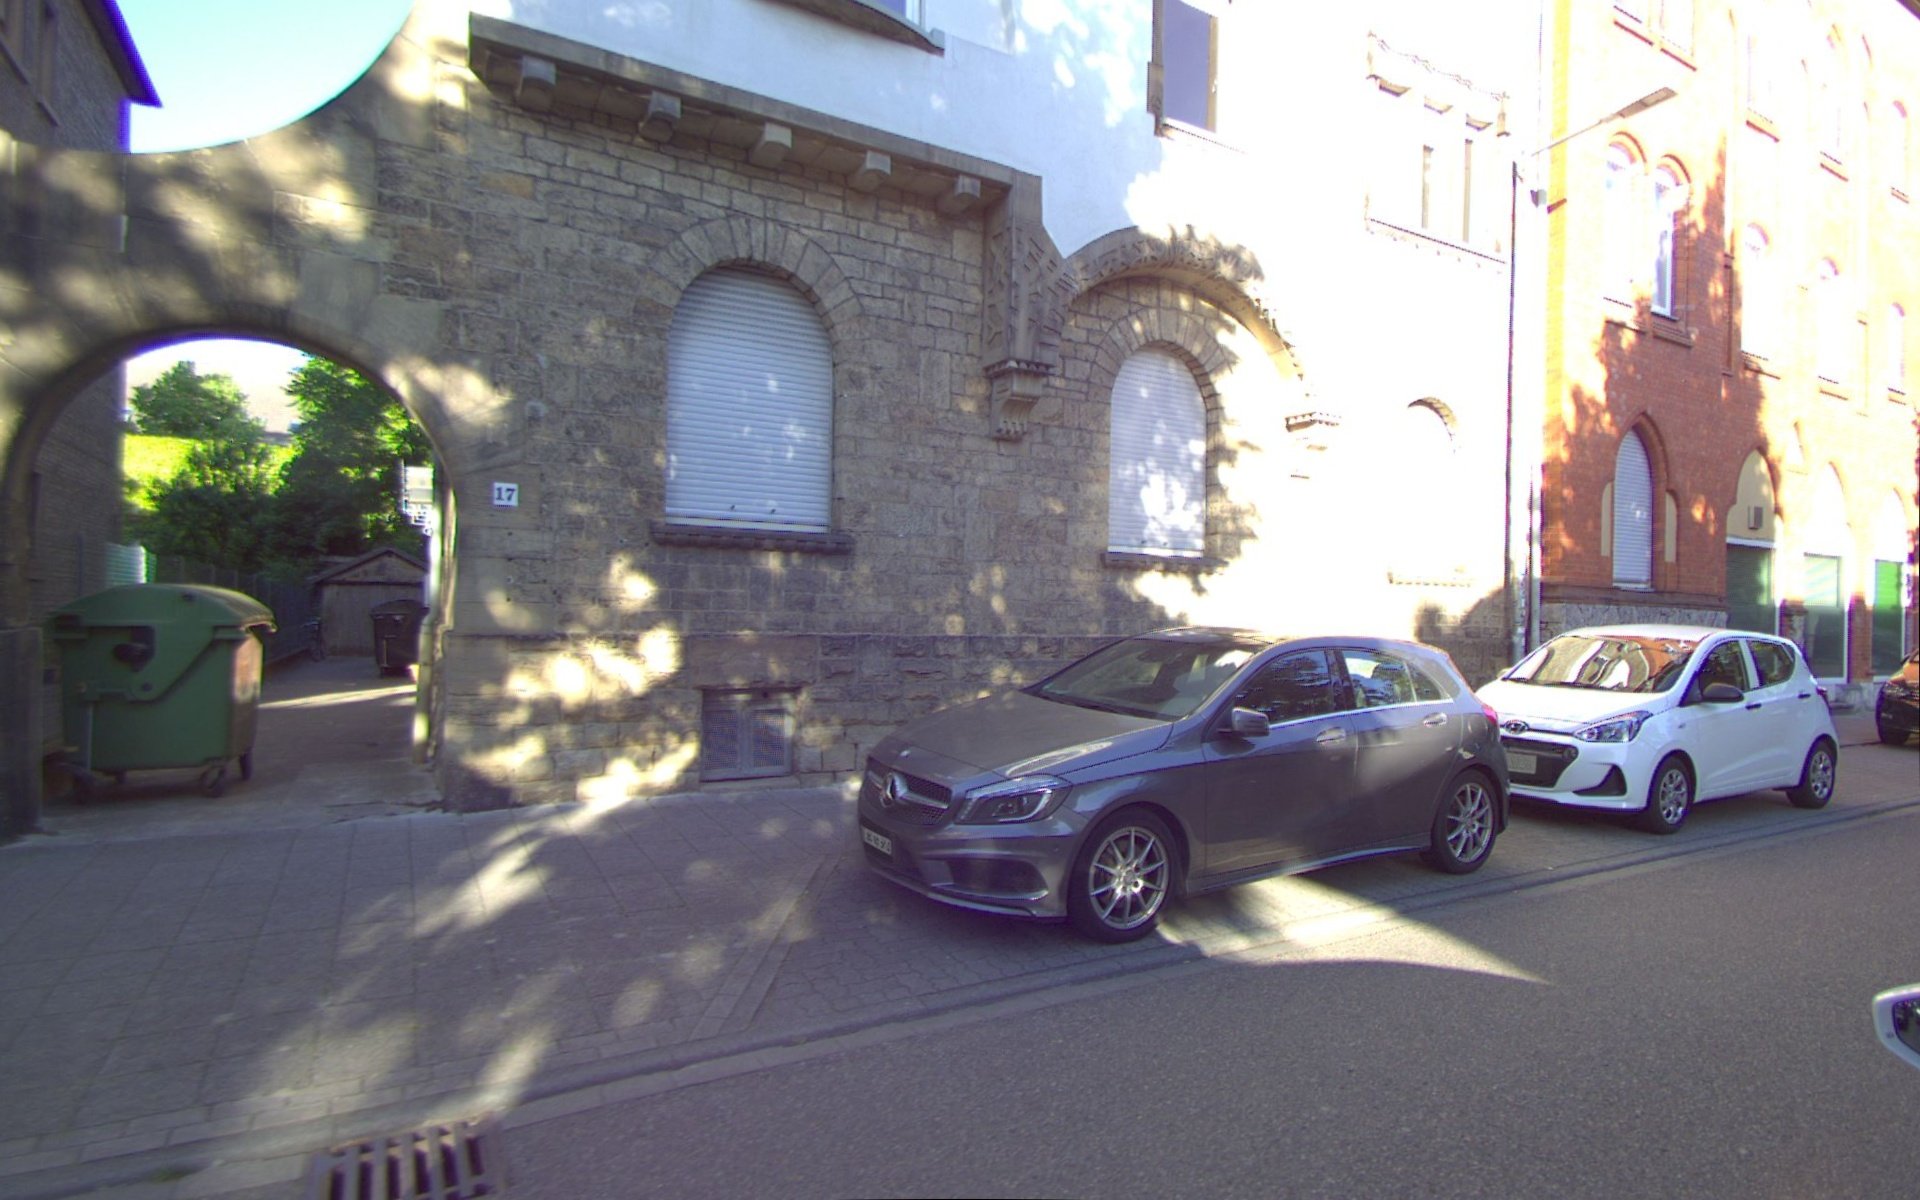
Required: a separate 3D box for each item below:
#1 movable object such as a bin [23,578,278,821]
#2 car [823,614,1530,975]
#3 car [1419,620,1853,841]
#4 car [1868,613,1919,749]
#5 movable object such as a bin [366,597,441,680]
[{"bbox_3d":[-5.530,0.627,6.992,1.160,1.498,1.187,2,0,-30],"label":"movable object such as a bin"},{"bbox_3d":[1.402,0.856,5.952,4.065,1.462,1.668,1,0,-31],"label":"car"},{"bbox_3d":[5.731,0.949,8.465,3.546,1.490,1.560,1,0,-28],"label":"car"},{"bbox_3d":[14.052,1.093,13.474,4.302,1.703,1.660,2,-1,-32],"label":"car"},{"bbox_3d":[-10.521,0.714,19.010,1.160,1.498,1.187,2,0,-30],"label":"movable object such as a bin"}]
